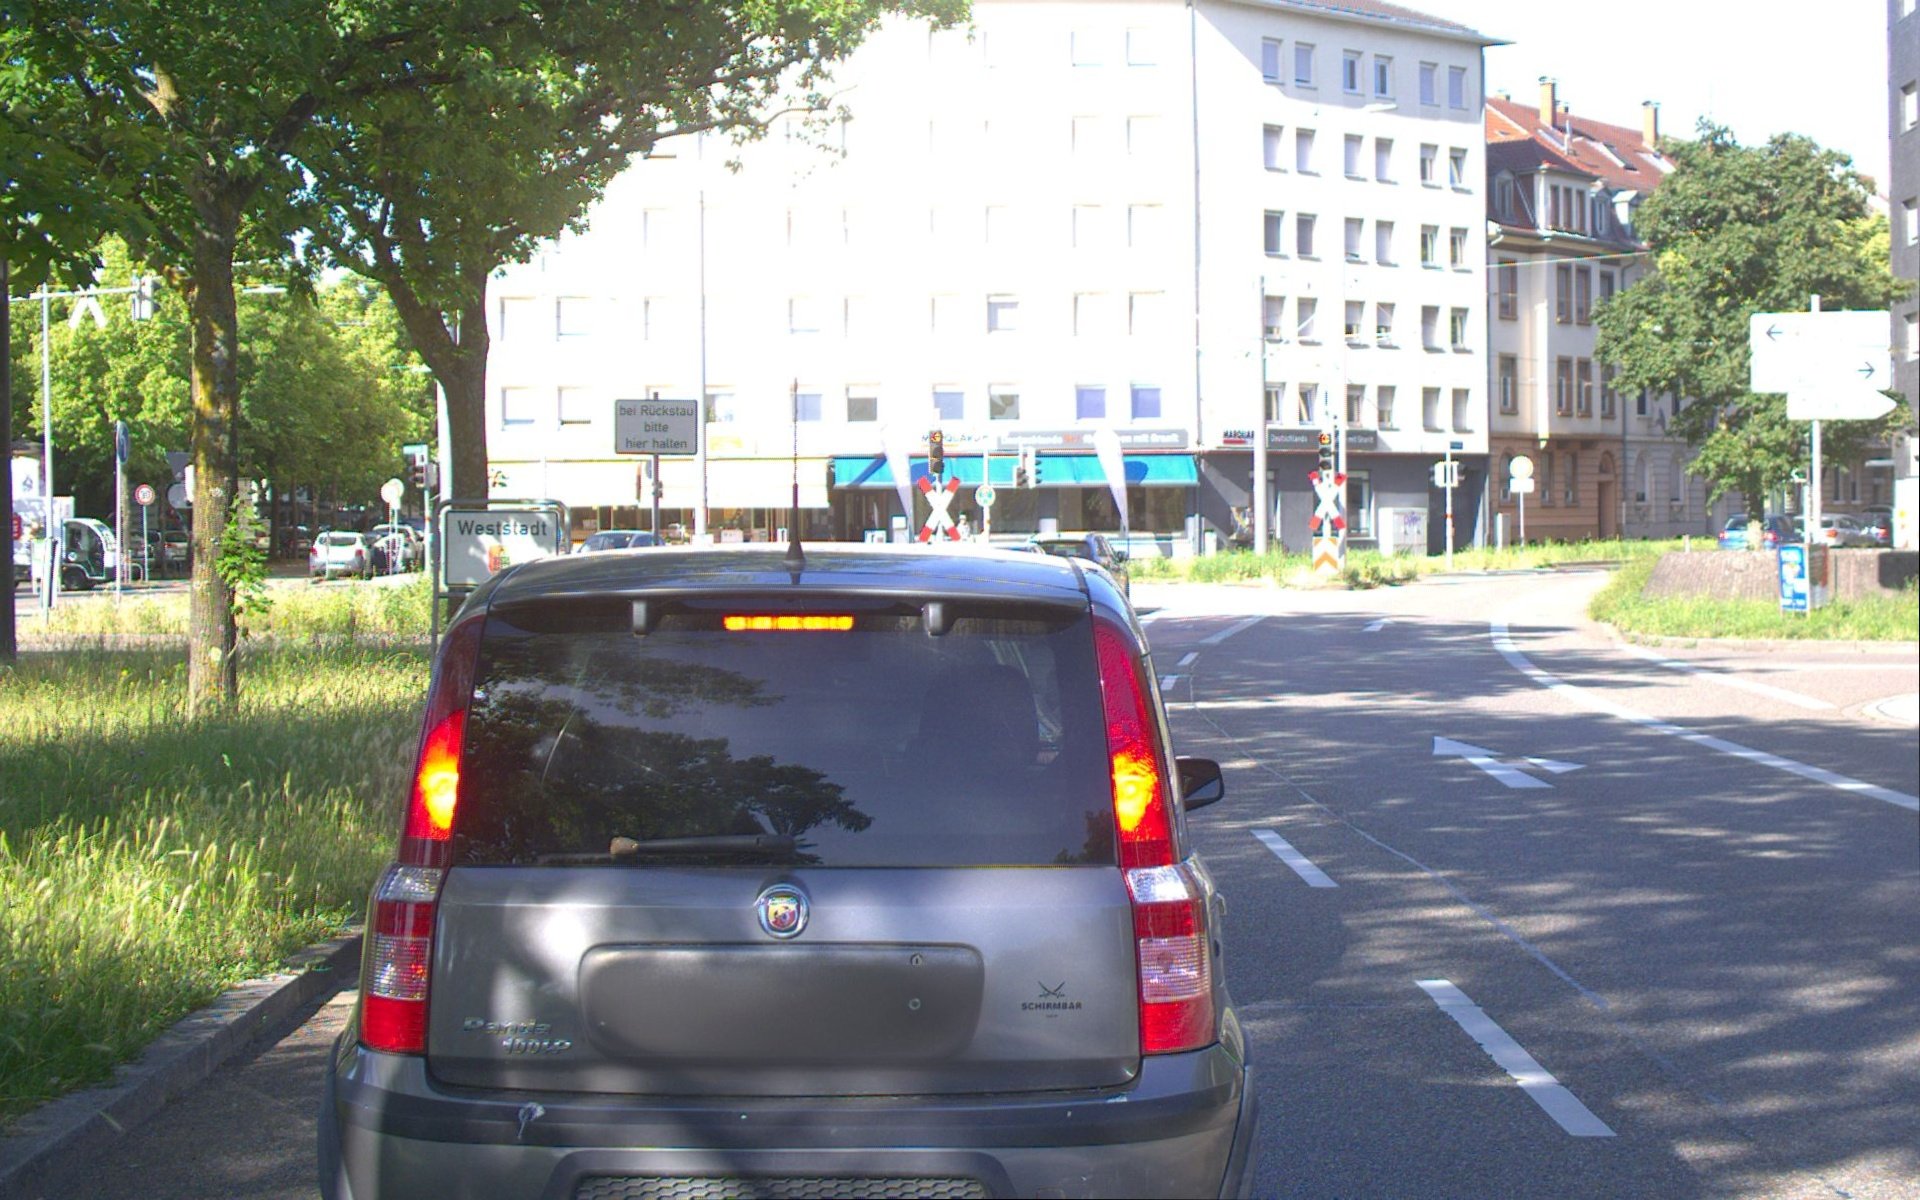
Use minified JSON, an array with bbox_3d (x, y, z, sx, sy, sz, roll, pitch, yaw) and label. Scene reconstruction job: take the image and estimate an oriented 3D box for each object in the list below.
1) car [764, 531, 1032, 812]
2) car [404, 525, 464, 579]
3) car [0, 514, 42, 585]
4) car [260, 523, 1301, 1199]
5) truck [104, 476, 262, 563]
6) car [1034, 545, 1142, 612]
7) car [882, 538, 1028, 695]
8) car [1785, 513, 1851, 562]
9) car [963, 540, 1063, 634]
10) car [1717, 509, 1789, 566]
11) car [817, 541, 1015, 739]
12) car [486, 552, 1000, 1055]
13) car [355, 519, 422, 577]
[{"bbox_3d":[-0.361,0.359,20.655,1.463,1.503,3.505,0,2,-1],"label":"car"},{"bbox_3d":[-20.372,-1.875,133.304,1.993,2.007,4.001,-1,1,-4],"label":"car"},{"bbox_3d":[-28.545,-1.426,98.170,4.176,2.007,1.932,-1,1,-2],"label":"car"},{"bbox_3d":[-0.300,0.601,7.421,1.628,1.503,4.000,-1,1,-1],"label":"car"},{"bbox_3d":[-28.888,-2.990,127.775,5.485,3.158,2.340,0,1,28],"label":"truck"},{"bbox_3d":[2.167,-0.369,57.672,1.143,1.060,2.719,0,1,17],"label":"car"},{"bbox_3d":[-0.063,0.125,33.866,1.356,1.444,3.266,-1,1,-1],"label":"car"},{"bbox_3d":[23.444,-1.721,93.885,1.528,1.310,3.285,0,2,18],"label":"car"},{"bbox_3d":[0.745,-0.210,49.598,1.356,1.277,2.876,0,1,-1],"label":"car"},{"bbox_3d":[20.875,-1.662,90.393,1.683,1.444,3.569,0,1,15],"label":"car"},{"bbox_3d":[-0.348,0.270,27.288,1.463,1.420,3.381,0,2,-1],"label":"car"},{"bbox_3d":[-0.643,0.564,11.592,1.463,1.396,3.393,0,1,-1],"label":"car"},{"bbox_3d":[-20.522,-1.889,123.584,1.993,2.007,4.001,-1,1,-4],"label":"car"}]
